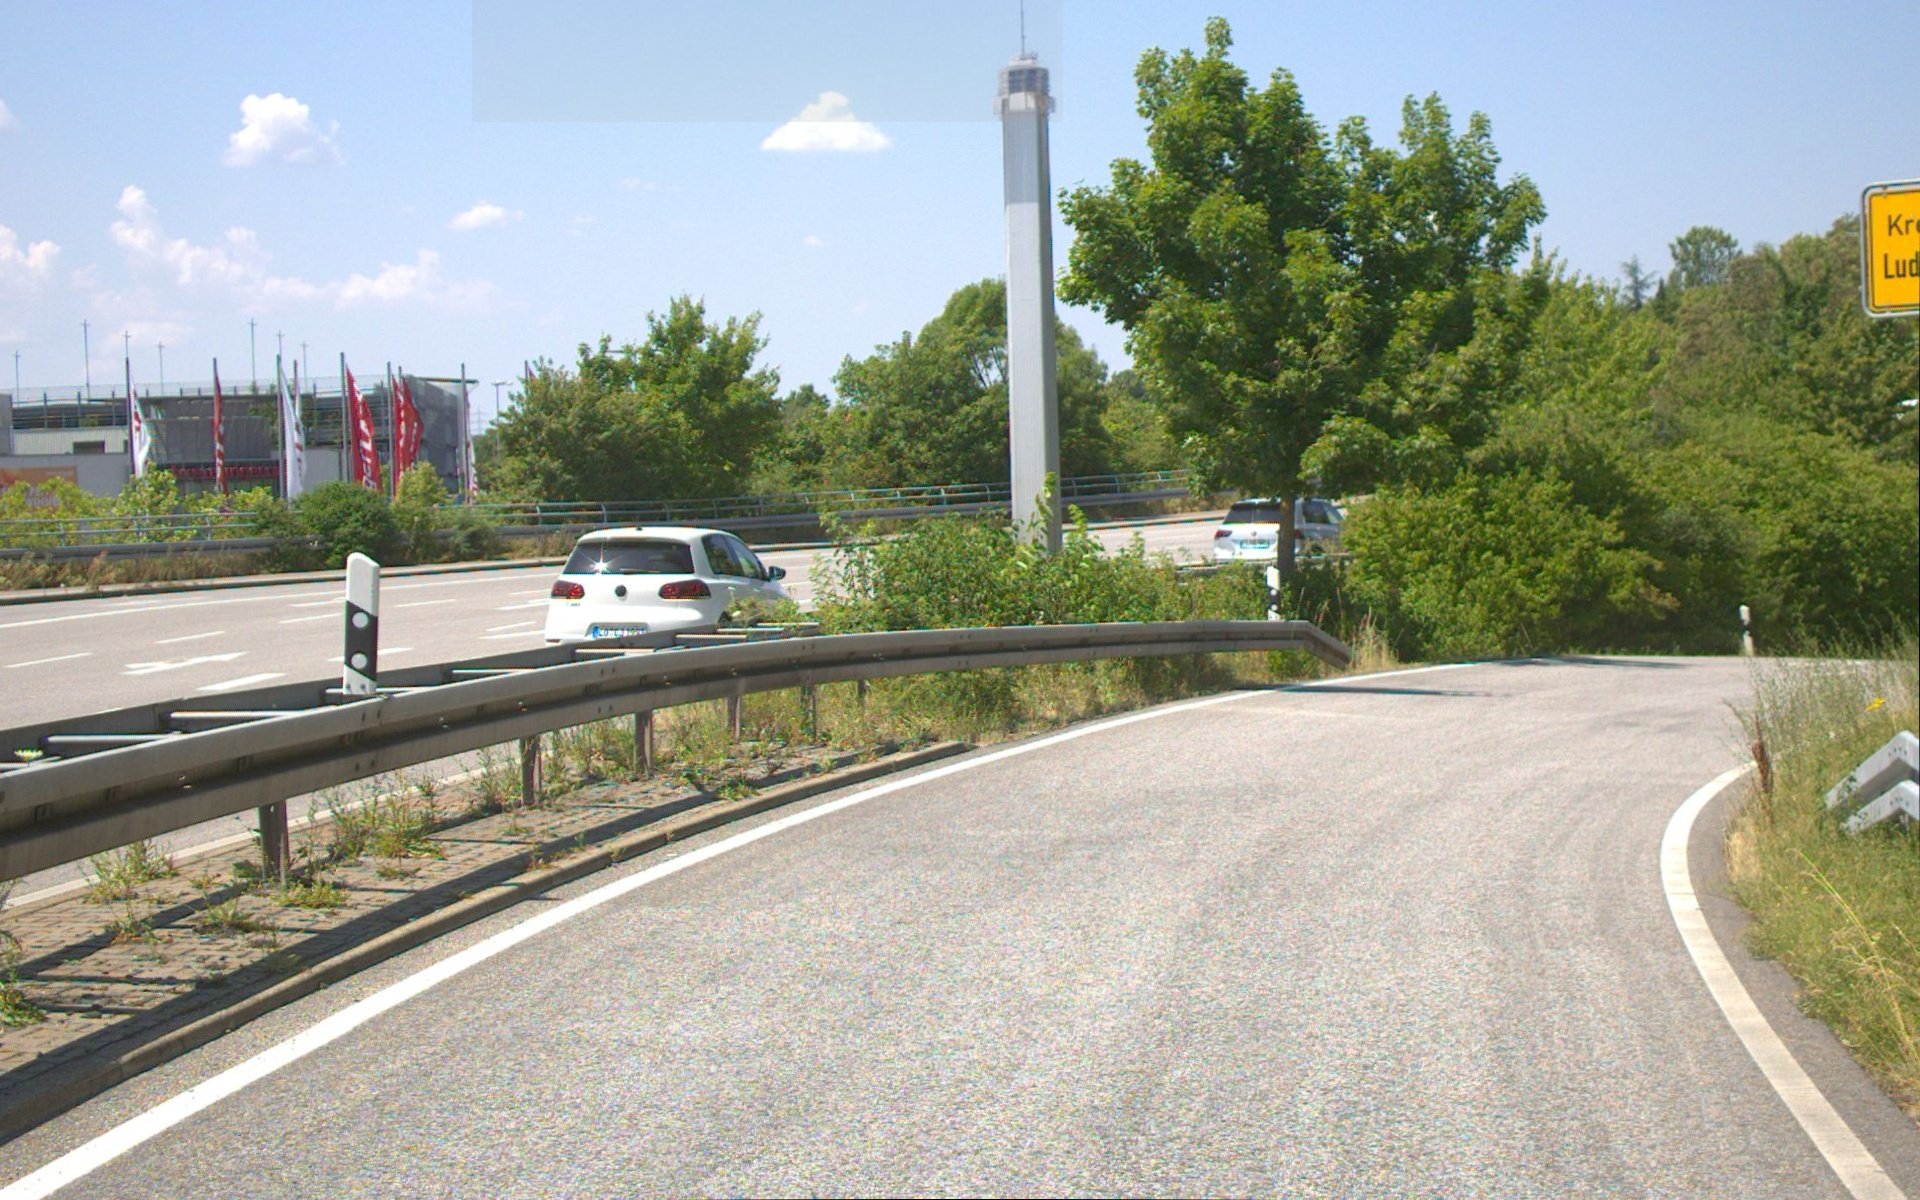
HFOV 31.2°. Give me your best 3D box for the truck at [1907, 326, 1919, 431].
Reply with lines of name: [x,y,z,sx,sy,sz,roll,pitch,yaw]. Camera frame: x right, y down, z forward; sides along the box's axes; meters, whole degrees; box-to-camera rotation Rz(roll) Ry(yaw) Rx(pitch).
truck: [36.608,-7.817,119.917,3.034,3.577,8.882,-2,2,43]

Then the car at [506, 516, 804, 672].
car: [-3.011,-0.094,34.863,1.994,1.481,4.134,0,1,10]

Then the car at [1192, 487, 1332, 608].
car: [5.458,-0.969,61.749,1.737,2.007,3.785,-2,1,16]
